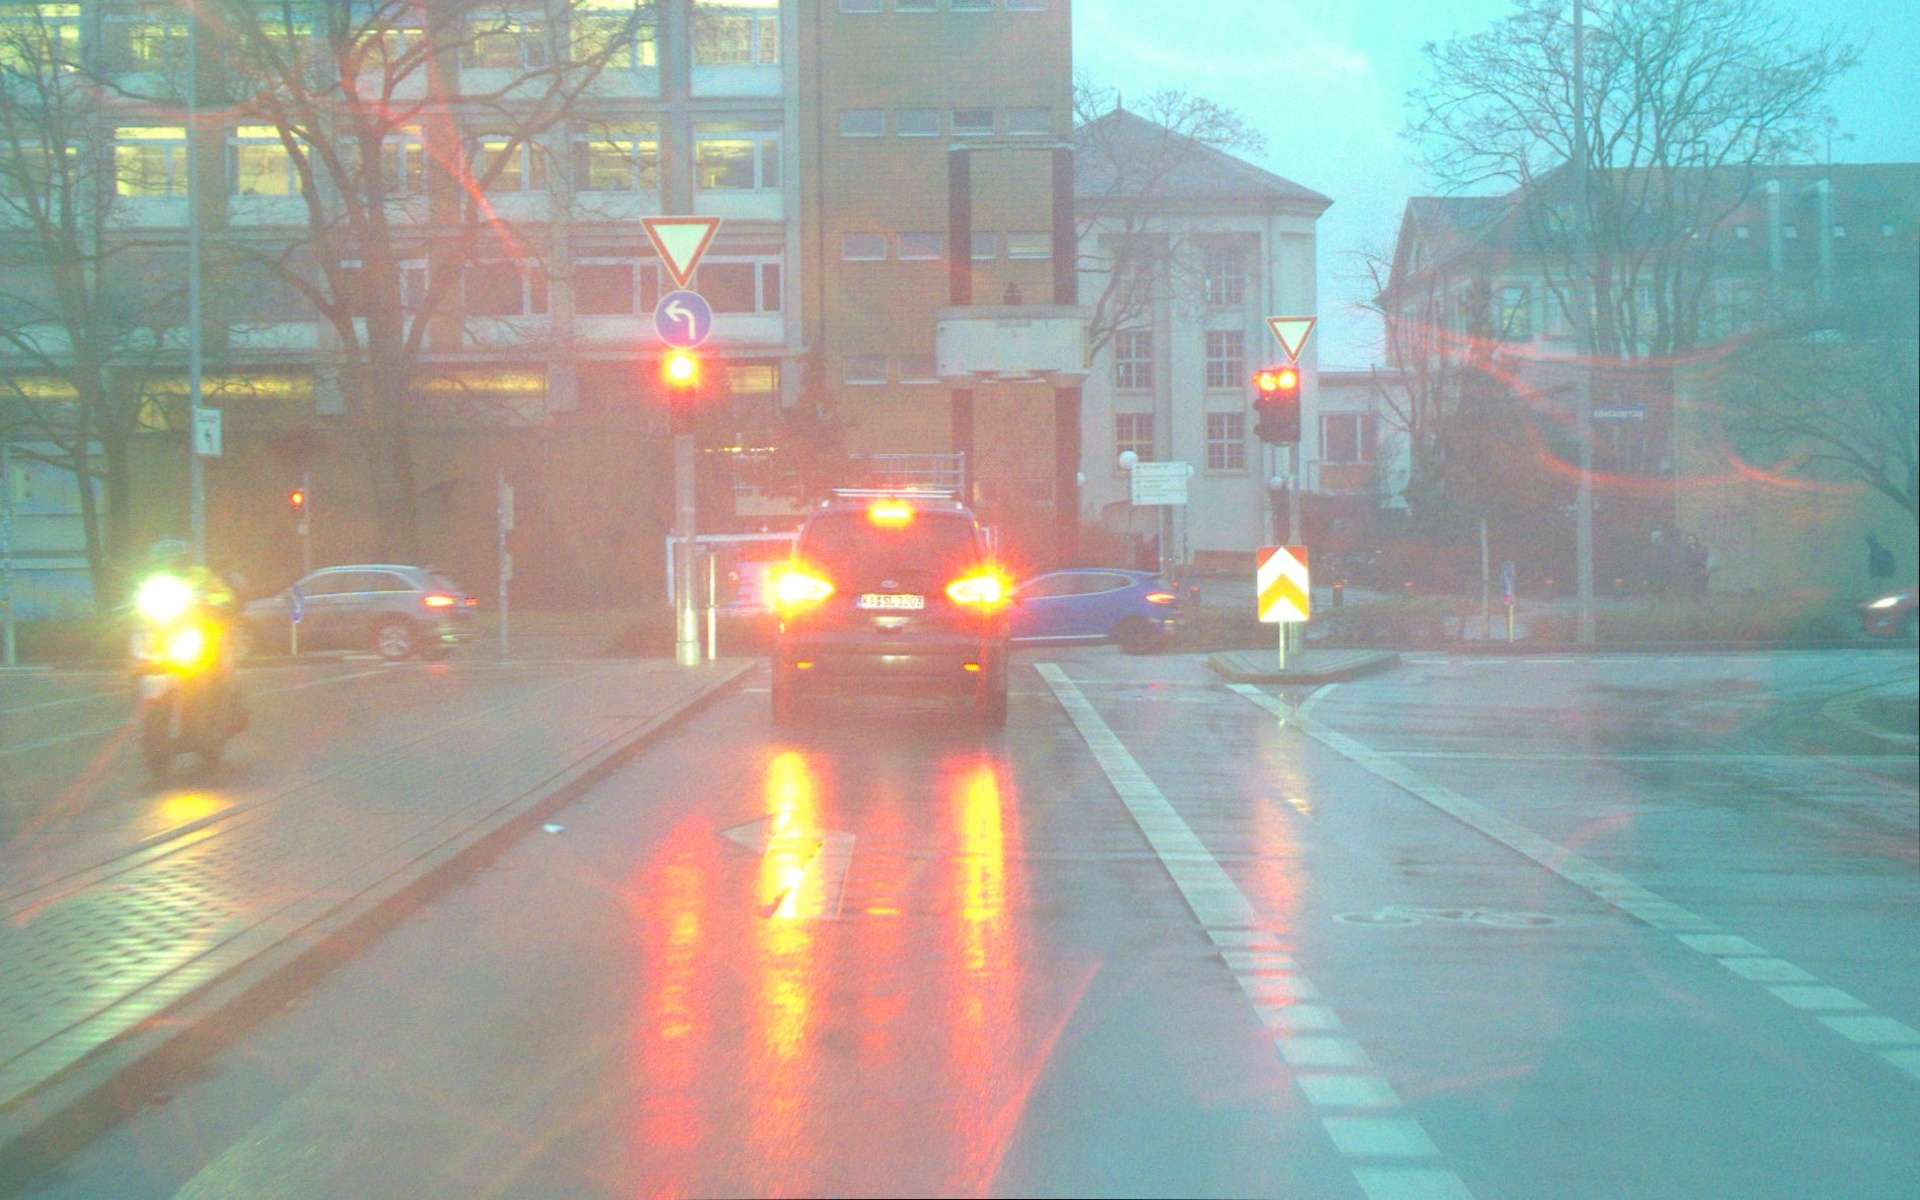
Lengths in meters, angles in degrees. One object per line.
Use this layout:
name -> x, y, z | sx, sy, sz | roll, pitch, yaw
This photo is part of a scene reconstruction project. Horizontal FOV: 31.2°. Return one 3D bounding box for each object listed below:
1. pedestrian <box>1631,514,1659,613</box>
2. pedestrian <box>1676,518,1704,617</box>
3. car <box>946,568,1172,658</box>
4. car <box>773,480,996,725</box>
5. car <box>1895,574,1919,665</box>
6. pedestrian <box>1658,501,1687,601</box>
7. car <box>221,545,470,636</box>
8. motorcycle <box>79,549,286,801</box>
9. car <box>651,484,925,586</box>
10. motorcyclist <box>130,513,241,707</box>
pedestrian -> 12.813, -0.675, 64.308 | 0.438, 1.832, 0.459 | 1, -1, 18
pedestrian -> 13.581, -0.605, 63.960 | 0.438, 1.832, 0.459 | 1, -1, 19
car -> 1.622, 0.213, 55.912 | 3.413, 1.393, 1.468 | 1, 0, 16
car -> -0.571, -0.032, 27.828 | 1.647, 1.812, 4.000 | 1, 1, 0
car -> 16.544, 0.341, 53.406 | 3.792, 1.393, 1.564 | 1, -1, 12
pedestrian -> 13.059, -0.896, 62.995 | 0.458, 1.832, 0.438 | 1, -1, 17
car -> -10.489, -0.157, 58.708 | 3.919, 1.480, 1.468 | 1, -1, 16
motorcycle -> -4.881, 0.432, 21.741 | 0.829, 1.492, 2.315 | -1, 1, -2
car -> -3.621, -1.370, 73.114 | 5.548, 2.017, 1.999 | 1, -1, 6
motorcyclist -> -4.854, 0.065, 21.555 | 0.536, 1.189, 0.611 | 1, -1, 0
